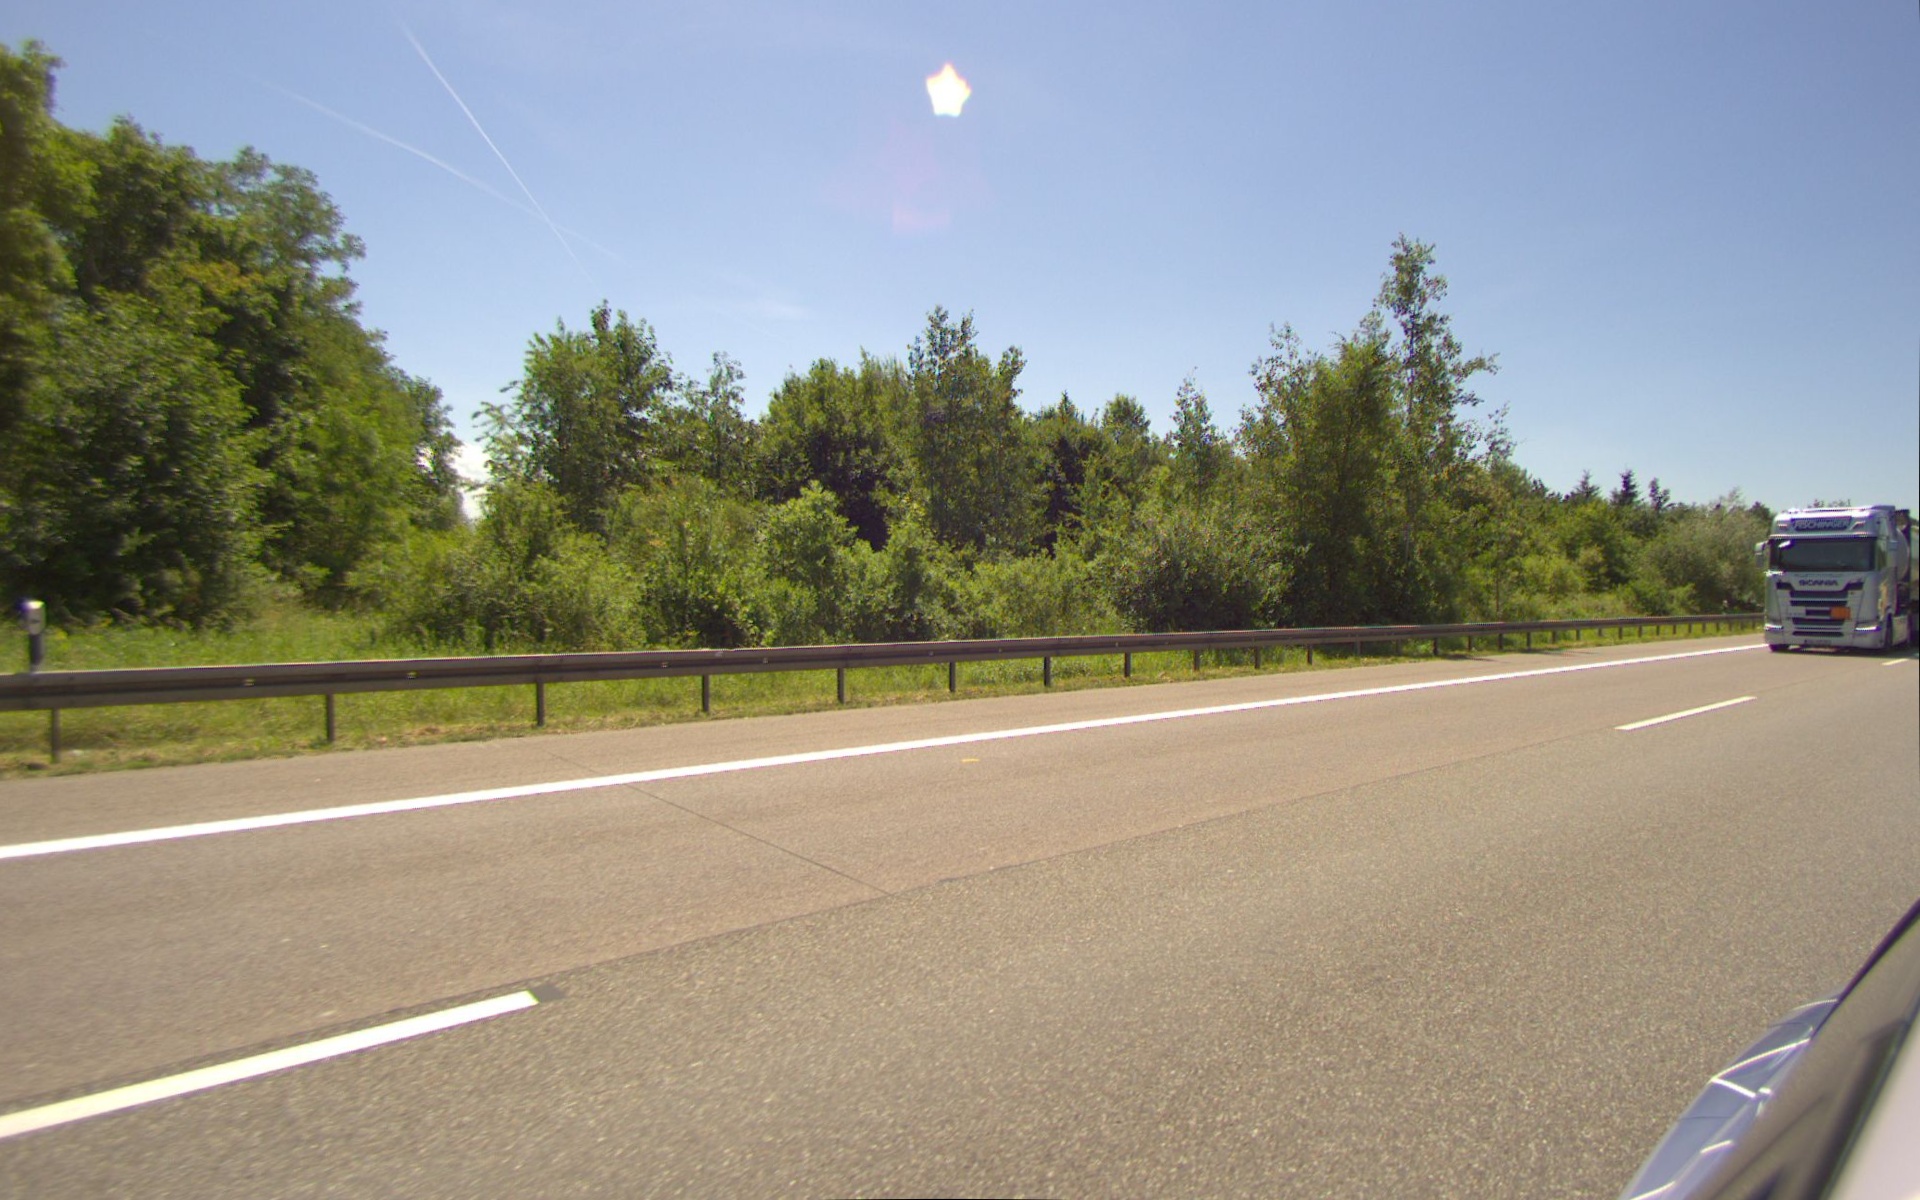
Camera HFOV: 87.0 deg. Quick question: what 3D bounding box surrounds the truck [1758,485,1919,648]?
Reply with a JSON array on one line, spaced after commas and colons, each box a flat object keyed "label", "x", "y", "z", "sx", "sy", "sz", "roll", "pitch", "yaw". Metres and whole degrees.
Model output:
[{"label": "truck", "x": 27.653, "y": -0.889, "z": 30.734, "sx": 13.119, "sy": 4.097, "sz": 2.803, "roll": -1, "pitch": 0, "yaw": -40}]
